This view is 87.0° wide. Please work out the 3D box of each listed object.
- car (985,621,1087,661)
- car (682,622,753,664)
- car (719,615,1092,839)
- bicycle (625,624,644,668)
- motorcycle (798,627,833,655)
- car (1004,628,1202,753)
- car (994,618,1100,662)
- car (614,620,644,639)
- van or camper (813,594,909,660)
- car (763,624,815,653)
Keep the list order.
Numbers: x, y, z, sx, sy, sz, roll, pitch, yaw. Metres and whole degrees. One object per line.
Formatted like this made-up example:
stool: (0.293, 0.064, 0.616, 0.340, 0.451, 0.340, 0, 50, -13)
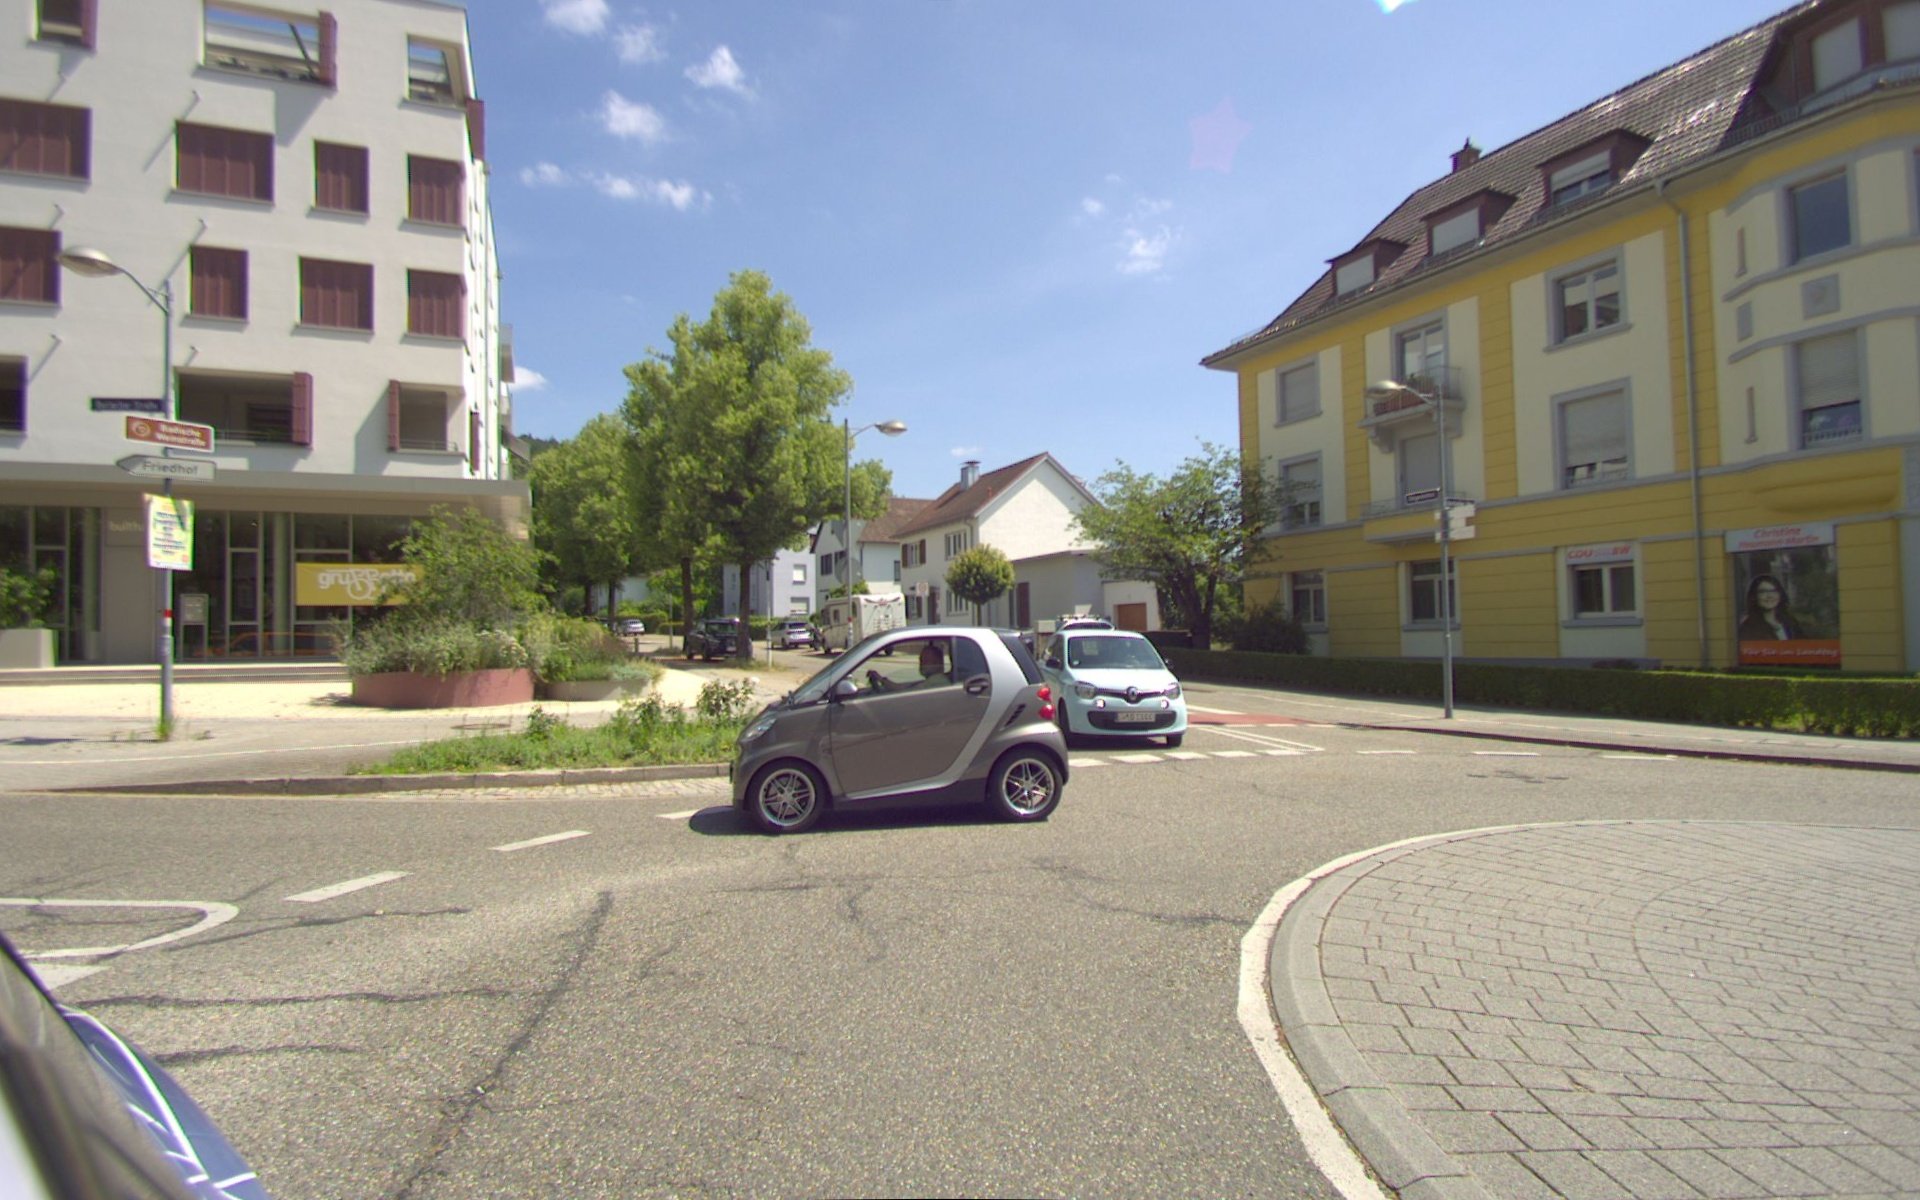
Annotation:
car: (3.192, 1.682, 42.200, 3.924, 1.598, 1.762, 1, -2, -29)
car: (-9.177, 1.596, 38.121, 1.726, 1.516, 4.005, 1, -2, -27)
car: (-0.494, 0.941, 8.292, 2.744, 1.542, 1.573, -1, -1, -9)
bicycle: (-10.657, 1.488, 33.170, 0.560, 1.388, 1.753, 1, -2, -17)
motorcycle: (-7.144, 2.021, 50.040, 0.734, 1.330, 2.218, 0, -2, 21)
car: (1.900, 1.222, 14.802, 1.633, 1.537, 4.170, 0, -2, -10)
car: (3.353, 1.504, 38.763, 3.929, 1.598, 1.759, 1, -2, -39)
car: (-30.642, 2.729, 93.623, 1.965, 1.679, 4.013, 1, -1, -27)
van or camper: (-4.501, 1.192, 45.082, 2.235, 2.658, 5.904, -2, 0, -26)
car: (-9.132, 2.042, 53.970, 1.726, 1.516, 4.005, 1, -2, -25)
